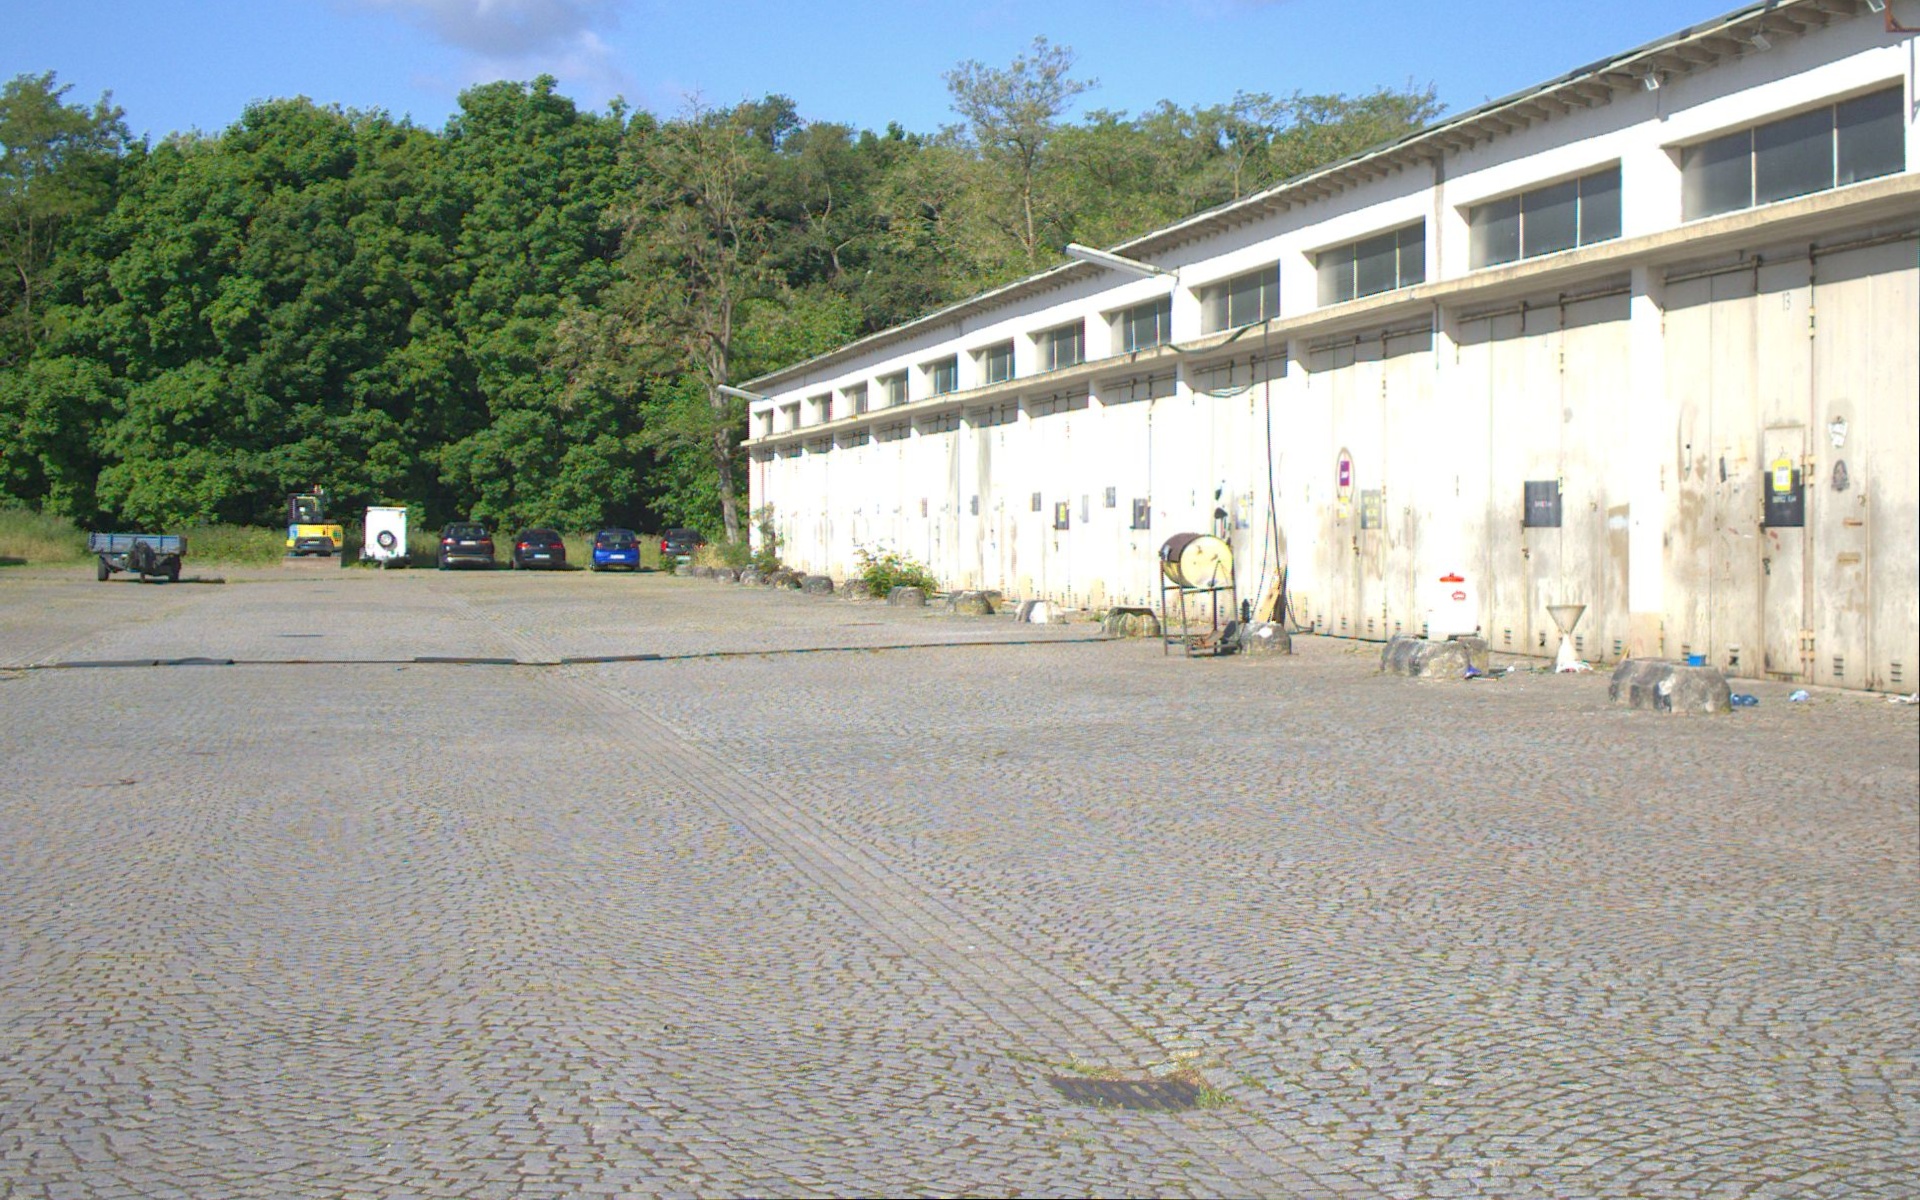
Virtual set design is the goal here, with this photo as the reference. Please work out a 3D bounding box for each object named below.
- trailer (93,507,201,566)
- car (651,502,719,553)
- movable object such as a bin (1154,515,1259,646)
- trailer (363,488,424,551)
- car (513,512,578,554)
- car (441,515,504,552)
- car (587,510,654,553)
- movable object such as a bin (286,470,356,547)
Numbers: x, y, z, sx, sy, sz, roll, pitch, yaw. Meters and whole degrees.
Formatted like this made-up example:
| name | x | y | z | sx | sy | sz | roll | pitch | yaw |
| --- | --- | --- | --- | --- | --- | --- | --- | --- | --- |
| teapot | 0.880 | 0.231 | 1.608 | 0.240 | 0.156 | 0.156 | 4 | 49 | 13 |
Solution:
| name | x | y | z | sx | sy | sz | roll | pitch | yaw |
| --- | --- | --- | --- | --- | --- | --- | --- | --- | --- |
| trailer | -23.514 | -1.855 | 99.646 | 2.790 | 1.640 | 5.622 | 0 | 1 | -11 |
| car | -9.710 | -2.565 | 121.159 | 1.993 | 1.766 | 4.001 | 0 | 2 | -10 |
| movable object such as a bin | 2.660 | -0.226 | 37.261 | 0.874 | 1.396 | 1.102 | 0 | 1 | -11 |
| trailer | -19.657 | -2.795 | 119.100 | 1.993 | 2.155 | 4.433 | 0 | 1 | -10 |
| car | -14.382 | -2.351 | 119.125 | 1.993 | 1.419 | 4.001 | 0 | 2 | -10 |
| car | -16.811 | -2.304 | 118.339 | 1.993 | 1.254 | 4.001 | 0 | 2 | -10 |
| car | -11.825 | -2.402 | 119.544 | 1.993 | 1.461 | 4.001 | 0 | 2 | -10 |
| movable object such as a bin | -22.217 | -3.187 | 119.429 | 2.231 | 2.648 | 4.001 | 0 | 2 | -12 |
